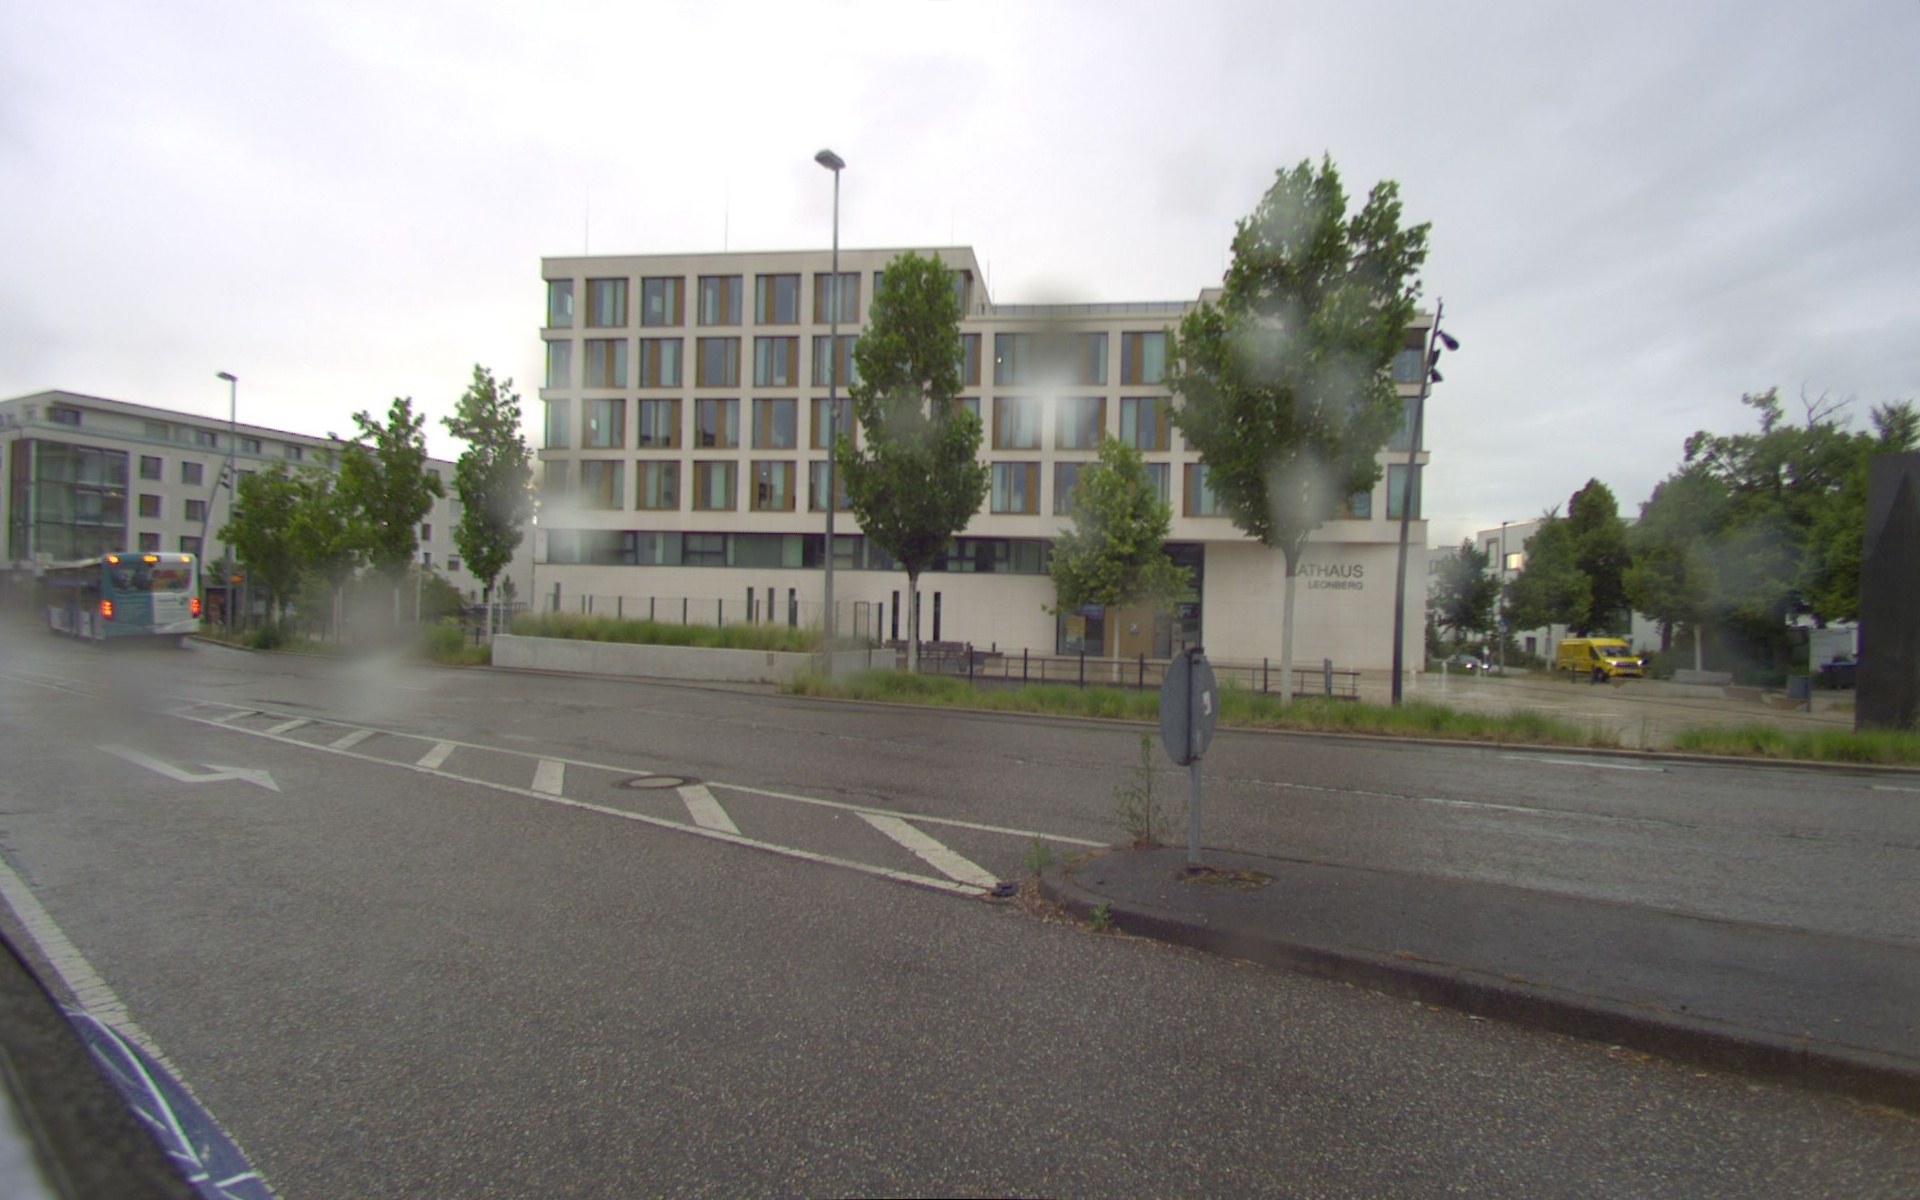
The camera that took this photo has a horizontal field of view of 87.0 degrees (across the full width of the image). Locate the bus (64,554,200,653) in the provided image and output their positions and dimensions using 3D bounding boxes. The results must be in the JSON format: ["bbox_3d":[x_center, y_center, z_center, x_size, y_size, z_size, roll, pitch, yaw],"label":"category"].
[{"bbox_3d":[-29.780,0.194,36.224,9.372,3.138,2.745,-1,-2,45],"label":"bus"}]

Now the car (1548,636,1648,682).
[{"bbox_3d":[35.830,3.316,57.054,1.973,2.428,5.913,1,-3,2],"label":"car"}]

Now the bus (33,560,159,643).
[{"bbox_3d":[-36.434,0.126,42.522,8.880,3.138,2.762,-1,-2,42],"label":"bus"}]

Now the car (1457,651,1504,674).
[{"bbox_3d":[38.558,4.621,75.086,1.978,1.551,3.987,1,-3,10],"label":"car"}]
